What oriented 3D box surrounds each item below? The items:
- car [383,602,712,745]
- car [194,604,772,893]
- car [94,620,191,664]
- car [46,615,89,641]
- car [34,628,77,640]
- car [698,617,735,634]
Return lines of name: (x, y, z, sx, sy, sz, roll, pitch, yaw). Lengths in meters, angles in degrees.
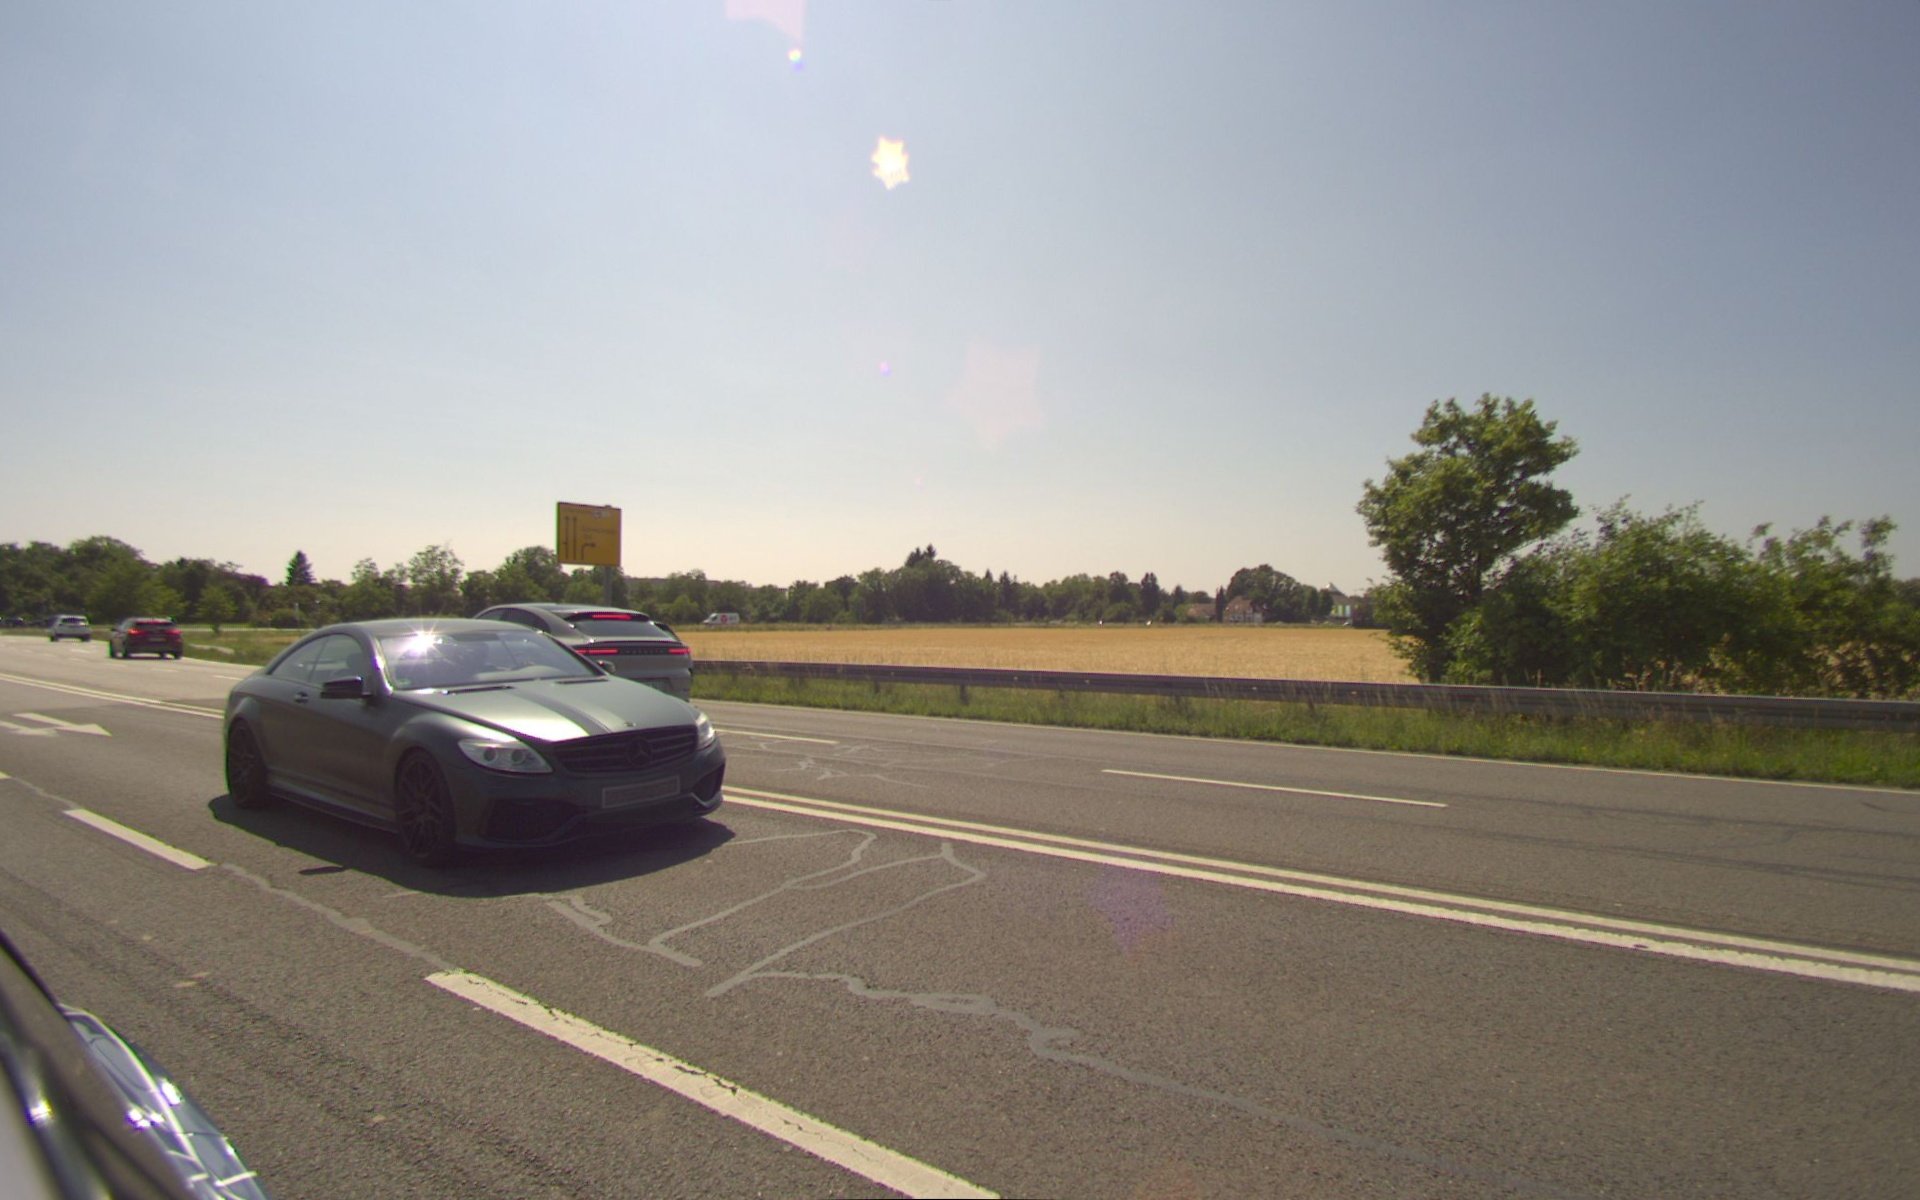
car: (-5.648, 0.912, 13.588, 4.867, 1.599, 1.823, -1, -4, 37)
car: (-3.706, 0.795, 7.394, 4.869, 1.461, 1.794, -1, 0, 37)
car: (-31.905, 1.599, 39.461, 4.305, 1.574, 1.974, 0, -2, 38)
car: (-58.836, 1.862, 66.678, 4.462, 1.689, 1.647, -2, -3, 43)
car: (-110.337, 4.183, 123.465, 3.821, 1.397, 1.636, 1, -2, -43)
car: (-44.171, 4.618, 183.570, 6.288, 2.931, 2.001, -1, 1, -45)
